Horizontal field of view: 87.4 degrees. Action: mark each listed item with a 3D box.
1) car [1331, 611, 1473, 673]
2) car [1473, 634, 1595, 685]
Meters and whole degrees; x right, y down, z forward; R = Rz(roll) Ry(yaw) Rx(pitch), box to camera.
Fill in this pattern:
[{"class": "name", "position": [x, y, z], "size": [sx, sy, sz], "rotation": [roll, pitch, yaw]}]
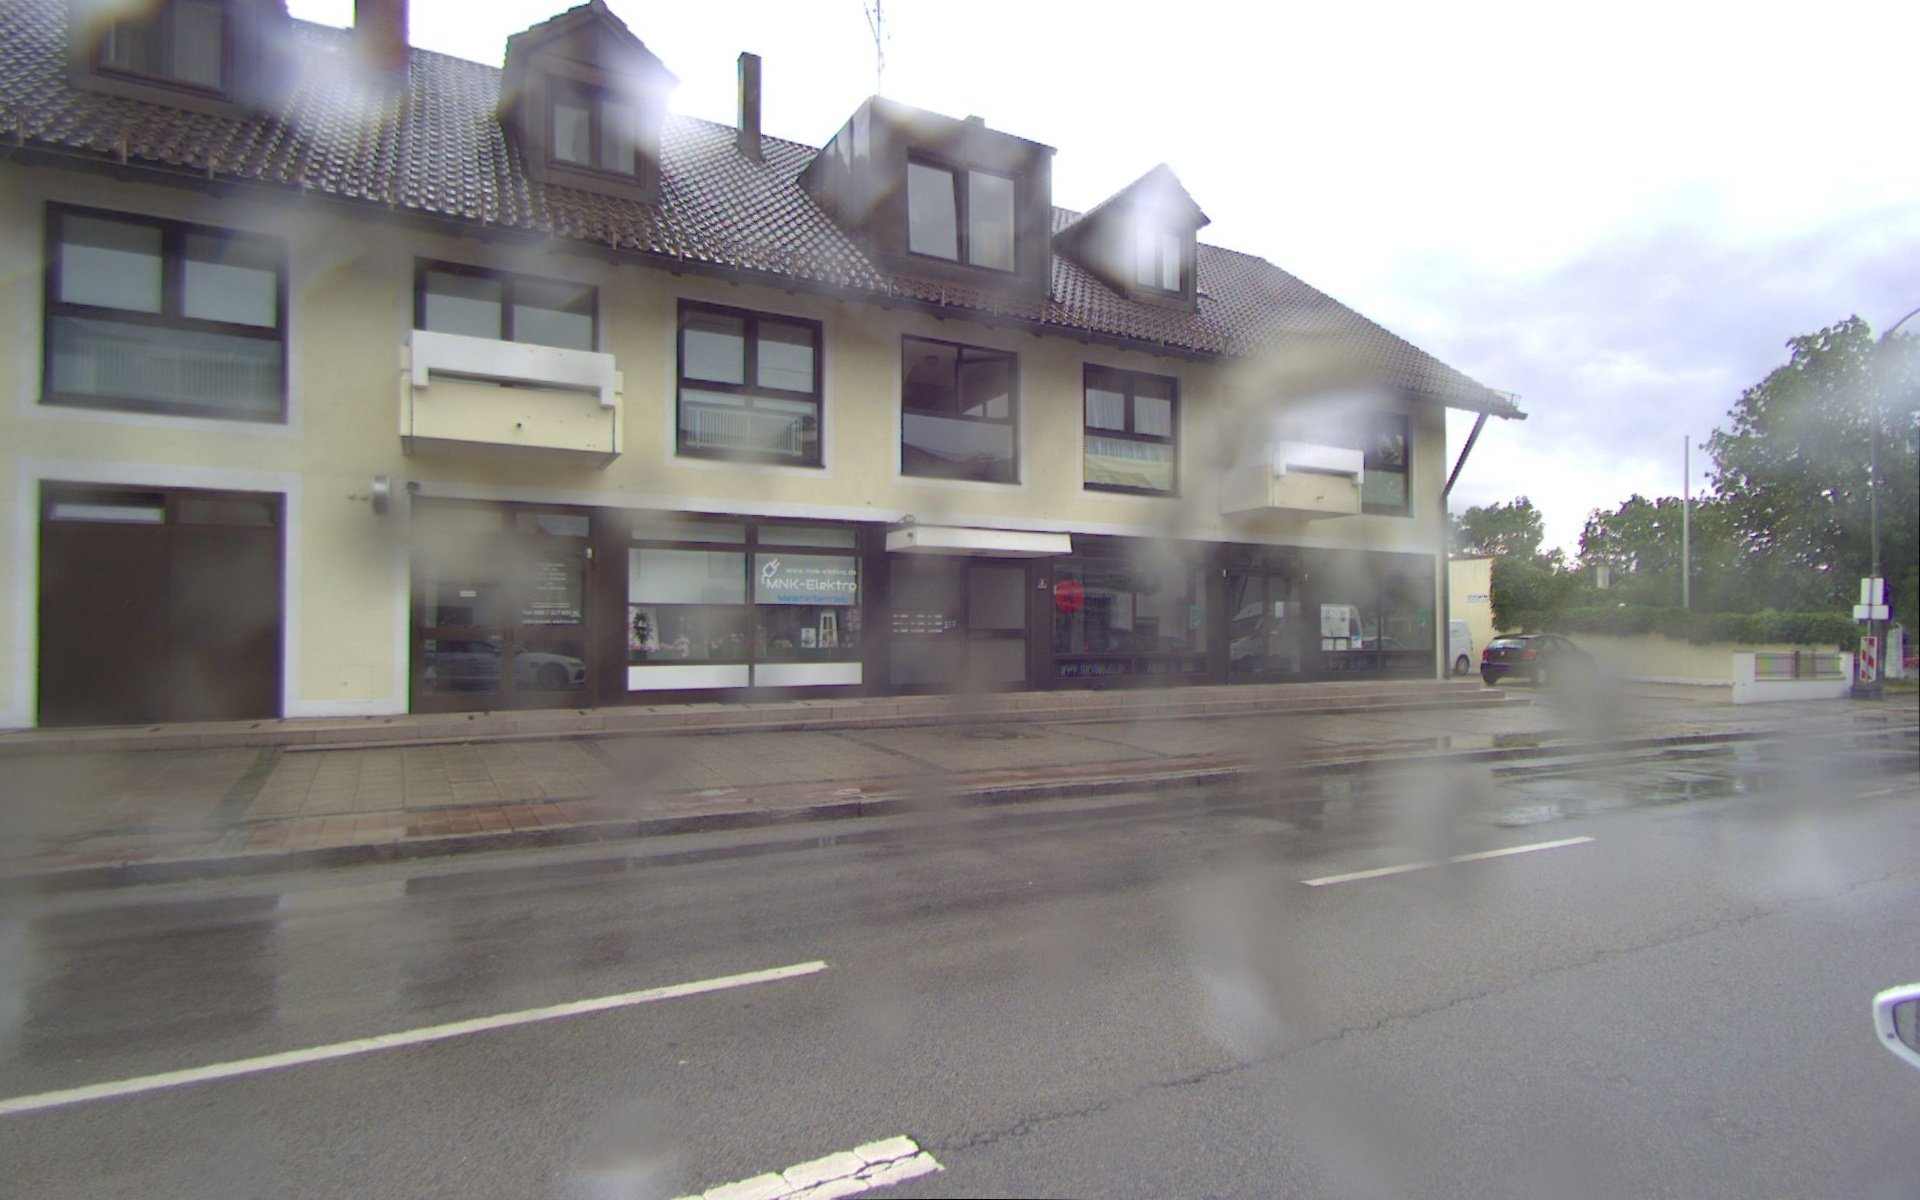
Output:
[{"class": "car", "position": [14.706, 1.408, 33.362], "size": [4.682, 1.944, 1.955], "rotation": [2, -3, -31]}, {"class": "car", "position": [16.704, 1.720, 29.218], "size": [3.468, 1.398, 1.599], "rotation": [2, -3, -31]}]
